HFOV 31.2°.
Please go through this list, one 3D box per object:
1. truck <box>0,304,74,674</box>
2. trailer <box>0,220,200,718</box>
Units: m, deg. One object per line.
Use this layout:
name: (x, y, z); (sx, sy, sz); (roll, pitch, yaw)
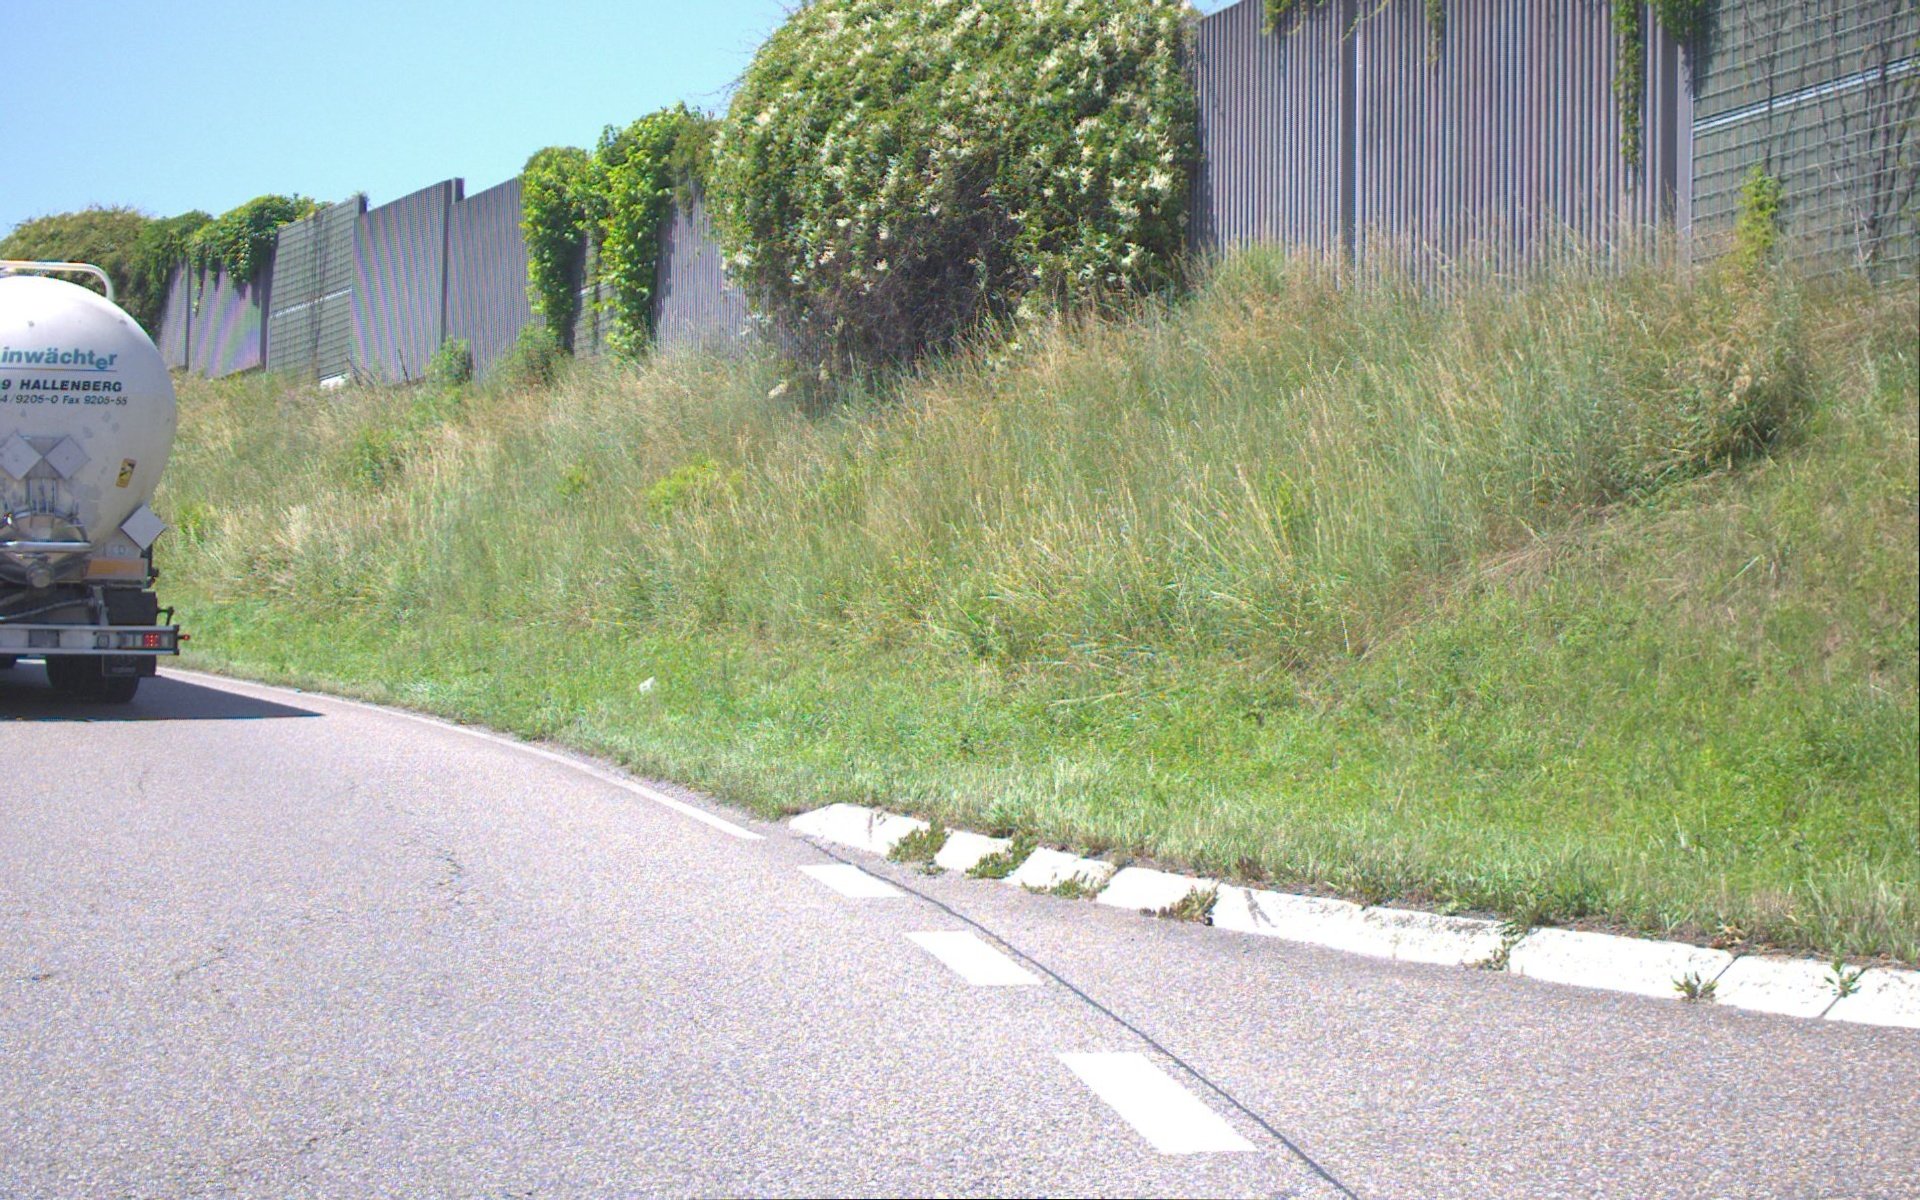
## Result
truck: (-12.280, -1.269, 39.407); (2.726, 3.916, 7.265); (-1, 2, -26)
trailer: (-10.065, -1.239, 34.416); (2.660, 4.174, 11.907); (-1, 2, -23)
